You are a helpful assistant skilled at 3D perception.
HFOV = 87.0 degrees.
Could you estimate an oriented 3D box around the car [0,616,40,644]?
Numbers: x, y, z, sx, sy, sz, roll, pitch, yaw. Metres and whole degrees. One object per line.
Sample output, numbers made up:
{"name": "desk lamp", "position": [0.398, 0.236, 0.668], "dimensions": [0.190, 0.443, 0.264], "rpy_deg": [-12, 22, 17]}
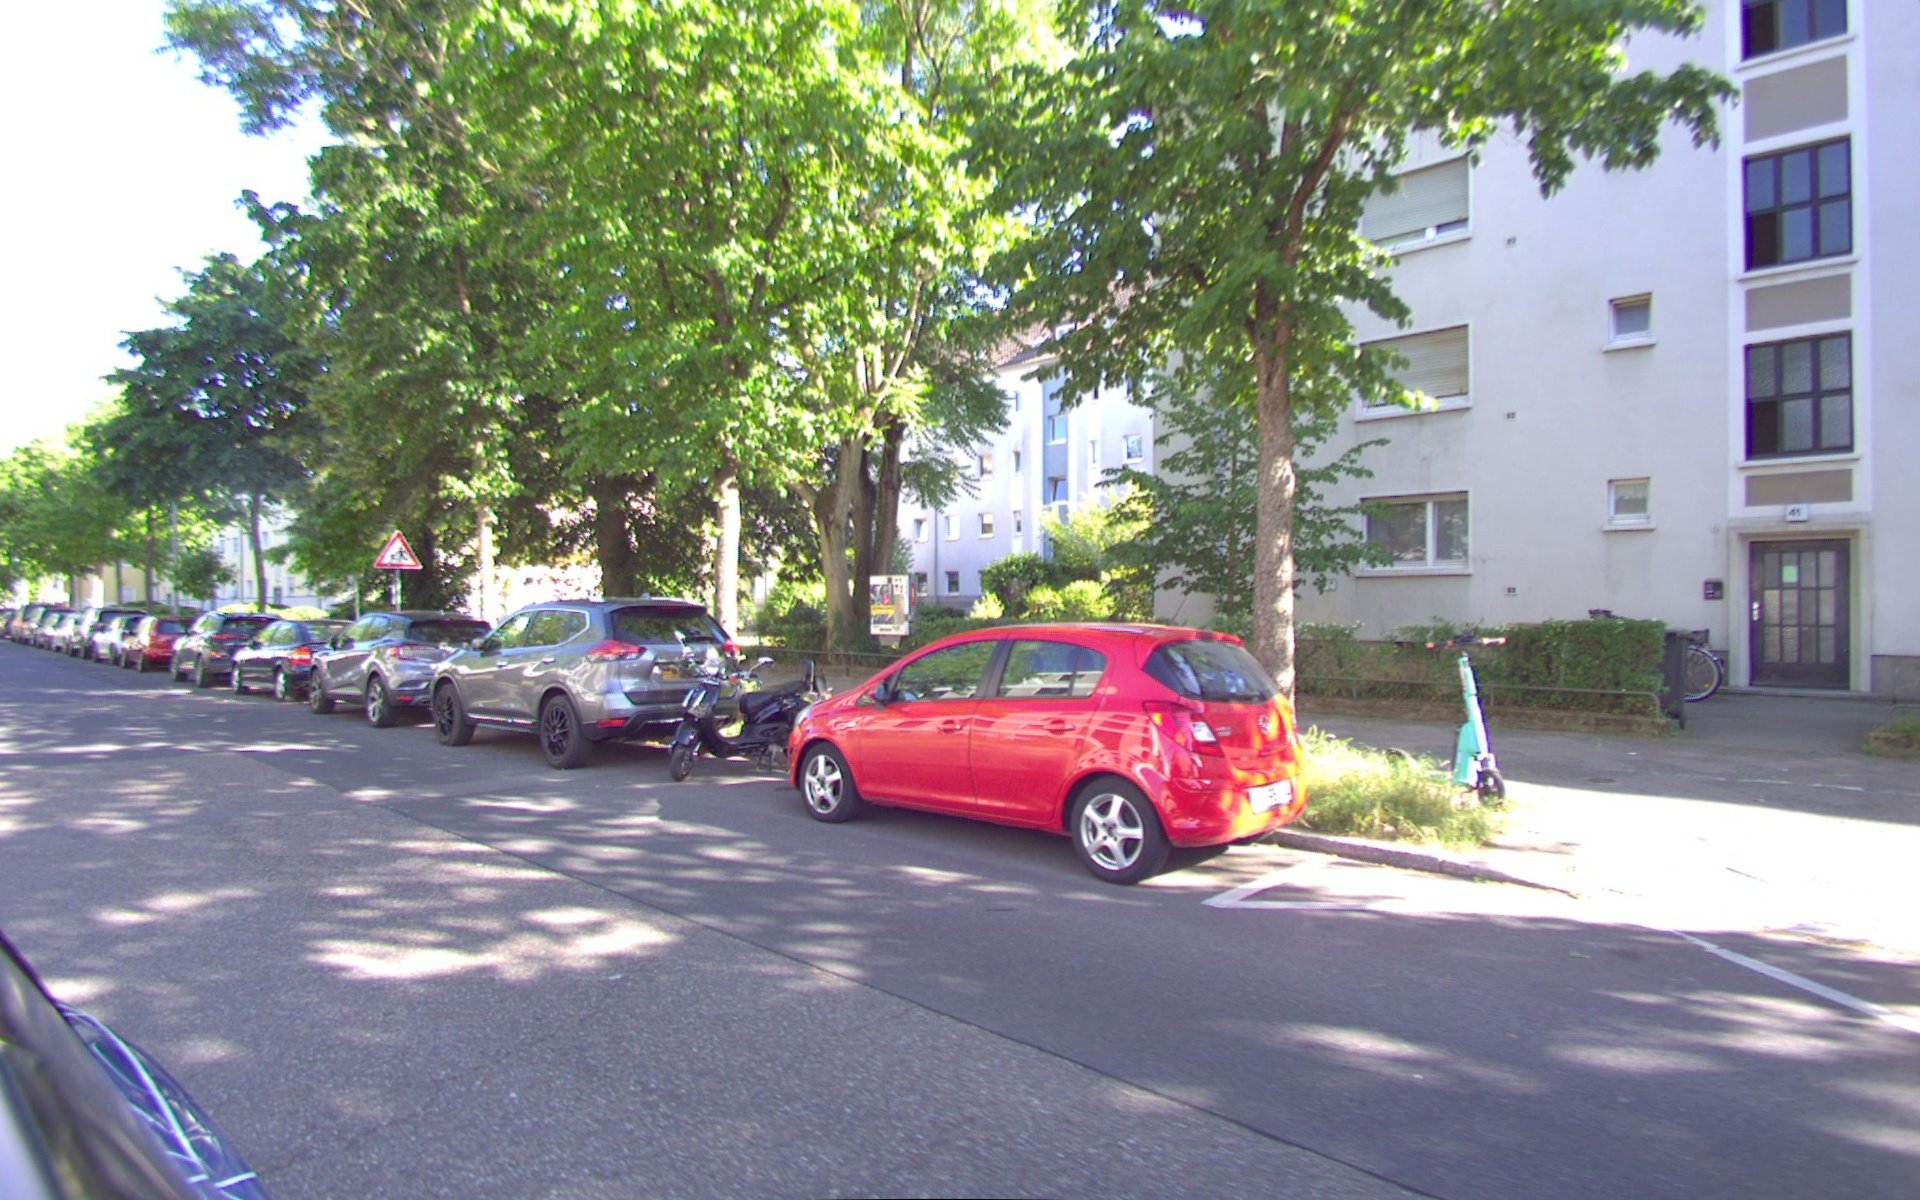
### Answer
{"name": "car", "position": [-51.986, 1.631, 55.575], "dimensions": [4.063, 1.482, 1.756], "rpy_deg": [-1, -3, 43]}

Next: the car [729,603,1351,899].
{"name": "car", "position": [0.338, 0.789, 7.197], "dimensions": [4.182, 1.481, 1.836], "rpy_deg": [-1, -1, 43]}

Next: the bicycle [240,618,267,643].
{"name": "bicycle", "position": [-31.209, 1.340, 44.697], "dimensions": [1.933, 1.069, 0.566], "rpy_deg": [-1, 0, 43]}

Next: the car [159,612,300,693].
{"name": "car", "position": [-16.019, 1.074, 22.109], "dimensions": [4.482, 1.589, 1.687], "rpy_deg": [-1, -1, 43]}

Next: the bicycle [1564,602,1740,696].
{"name": "bicycle", "position": [9.551, 0.646, 14.027], "dimensions": [1.912, 1.210, 0.678], "rpy_deg": [-1, -1, 45]}

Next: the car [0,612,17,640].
{"name": "car", "position": [-60.654, 1.617, 63.554], "dimensions": [4.001, 1.741, 1.839], "rpy_deg": [-1, -2, 44]}

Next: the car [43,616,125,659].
{"name": "car", "position": [-32.389, 1.355, 37.389], "dimensions": [4.487, 1.492, 1.688], "rpy_deg": [-1, -1, 41]}

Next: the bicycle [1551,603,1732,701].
{"name": "bicycle", "position": [9.069, 0.658, 13.521], "dimensions": [1.912, 1.210, 0.678], "rpy_deg": [-1, -1, 45]}

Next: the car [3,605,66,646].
{"name": "car", "position": [-44.036, 1.189, 48.109], "dimensions": [4.866, 1.864, 1.774], "rpy_deg": [-1, -1, 43]}

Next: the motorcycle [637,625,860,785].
{"name": "motorcycle", "position": [-1.963, 0.921, 9.573], "dimensions": [1.929, 1.342, 0.788], "rpy_deg": [1, -1, -40]}

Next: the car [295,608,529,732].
{"name": "car", "position": [-8.181, 0.909, 14.913], "dimensions": [4.420, 1.543, 1.750], "rpy_deg": [-1, 0, 43]}

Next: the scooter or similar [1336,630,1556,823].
{"name": "scooter or similar", "position": [3.528, 0.859, 7.492], "dimensions": [0.547, 1.244, 1.518], "rpy_deg": [0, -1, -18]}

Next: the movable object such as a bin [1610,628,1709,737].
{"name": "movable object such as a bin", "position": [7.432, 0.848, 10.752], "dimensions": [0.760, 1.076, 0.686], "rpy_deg": [-1, -1, 44]}

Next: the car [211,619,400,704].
{"name": "car", "position": [-12.126, 1.040, 18.642], "dimensions": [4.479, 1.363, 1.766], "rpy_deg": [-1, -1, 41]}

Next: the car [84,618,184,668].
{"name": "car", "position": [-24.666, 1.239, 30.157], "dimensions": [4.187, 1.384, 1.637], "rpy_deg": [-1, -1, 41]}

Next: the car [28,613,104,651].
{"name": "car", "position": [-36.083, 1.266, 40.796], "dimensions": [4.488, 1.463, 1.774], "rpy_deg": [-1, -1, 42]}

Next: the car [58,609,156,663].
{"name": "car", "position": [-28.514, 1.167, 33.771], "dimensions": [5.086, 1.669, 1.822], "rpy_deg": [-1, -1, 42]}

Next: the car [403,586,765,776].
{"name": "car", "position": [-4.370, 0.759, 11.324], "dimensions": [4.812, 1.701, 1.749], "rpy_deg": [-1, -1, 42]}

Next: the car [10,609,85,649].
{"name": "car", "position": [-40.284, 1.243, 44.653], "dimensions": [4.522, 1.698, 1.776], "rpy_deg": [-1, -1, 39]}

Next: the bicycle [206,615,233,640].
{"name": "bicycle", "position": [-36.048, 1.326, 49.271], "dimensions": [2.260, 1.199, 0.588], "rpy_deg": [-1, -1, 41]}

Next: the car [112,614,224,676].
{"name": "car", "position": [-21.185, 1.142, 27.021], "dimensions": [4.067, 1.516, 1.637], "rpy_deg": [-1, -1, 41]}
